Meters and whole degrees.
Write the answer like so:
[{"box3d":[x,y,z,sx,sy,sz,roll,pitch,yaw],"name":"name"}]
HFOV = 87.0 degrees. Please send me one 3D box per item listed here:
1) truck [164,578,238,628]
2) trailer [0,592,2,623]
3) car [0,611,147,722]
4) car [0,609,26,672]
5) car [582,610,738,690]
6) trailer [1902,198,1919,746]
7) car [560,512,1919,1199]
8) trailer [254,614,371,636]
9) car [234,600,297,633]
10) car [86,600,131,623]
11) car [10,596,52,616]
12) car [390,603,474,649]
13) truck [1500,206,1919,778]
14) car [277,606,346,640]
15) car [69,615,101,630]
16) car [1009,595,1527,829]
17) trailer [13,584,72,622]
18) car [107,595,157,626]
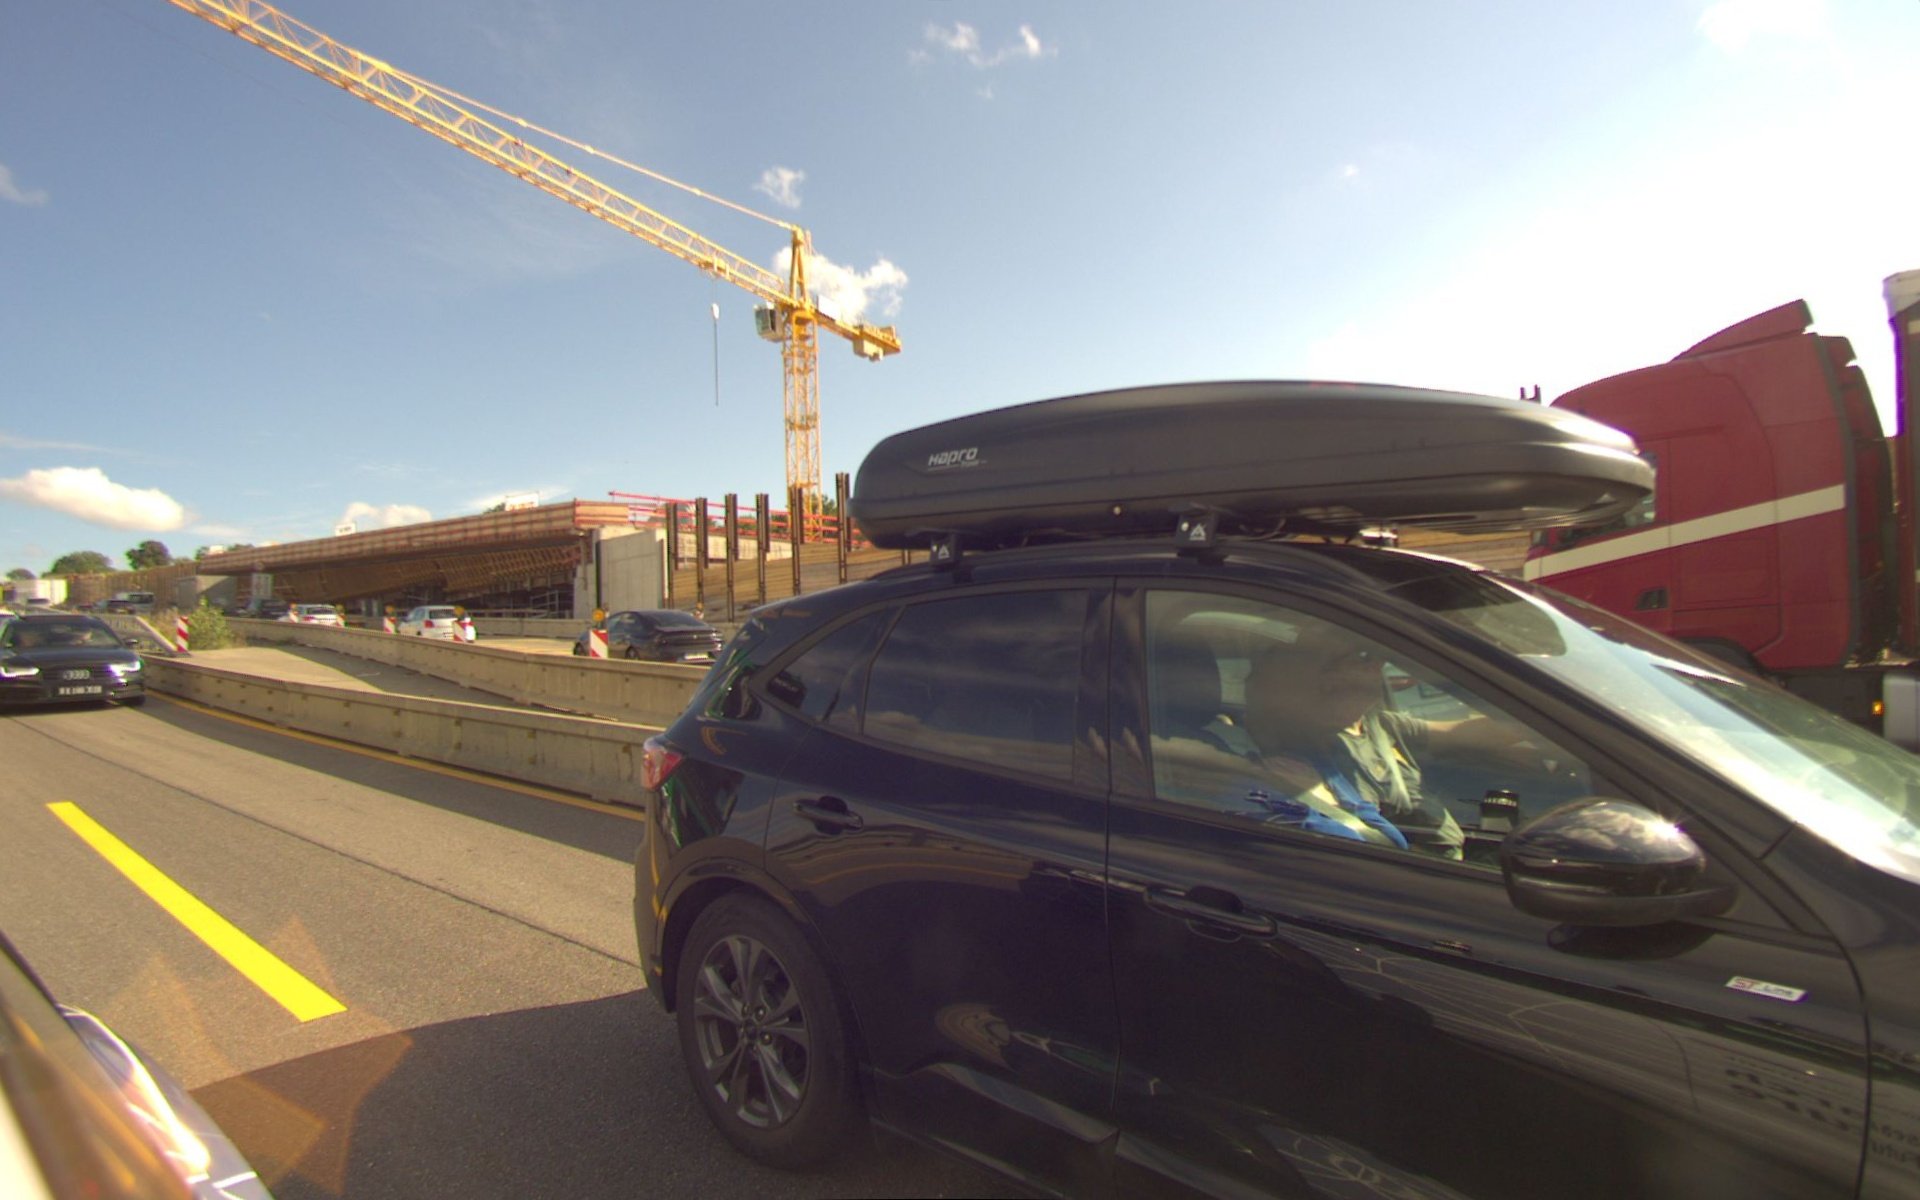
[{"box3d":[-53.122,0.170,70.746,7.534,3.336,2.672,0,1,41],"name":"truck"},{"box3d":[-135.654,1.005,140.537,13.808,4.187,2.659,1,1,42],"name":"trailer"},{"box3d":[-14.805,0.963,16.472,4.660,1.467,1.782,1,1,43],"name":"car"},{"box3d":[-26.996,1.090,27.592,4.560,1.576,1.783,1,1,41],"name":"car"},{"box3d":[-6.411,0.971,21.271,1.797,1.451,4.625,-1,0,-34],"name":"car"},{"box3d":[13.068,-1.001,3.725,2.942,4.456,13.828,-2,0,-43],"name":"trailer"},{"box3d":[1.022,0.693,2.300,4.382,1.554,1.781,0,-1,41],"name":"car"},{"box3d":[-35.778,1.327,55.719,10.318,0.947,2.328,0,1,39],"name":"trailer"},{"box3d":[-41.446,0.946,60.367,4.440,1.817,1.974,0,1,39],"name":"car"},{"box3d":[-62.996,0.843,74.853,4.745,1.648,1.834,-1,0,40],"name":"car"},{"box3d":[-86.441,0.550,94.104,5.024,1.779,2.105,-1,0,38],"name":"car"},{"box3d":[-17.858,0.850,34.162,1.732,1.451,3.811,-1,0,-40],"name":"car"},{"box3d":[8.585,-0.870,8.687,2.880,4.420,6.291,-2,0,-43],"name":"truck"},{"box3d":[-29.139,1.012,45.423,1.830,1.451,4.563,-1,0,-43],"name":"car"},{"box3d":[-83.176,2.096,96.194,3.999,1.282,1.899,1,1,42],"name":"car"},{"box3d":[2.592,0.829,9.615,1.820,1.660,4.515,-1,0,-36],"name":"car"},{"box3d":[-99.897,0.243,110.081,13.792,3.870,2.792,0,1,40],"name":"trailer"},{"box3d":[-67.773,0.833,82.831,5.865,2.420,2.235,1,1,41],"name":"car"}]
